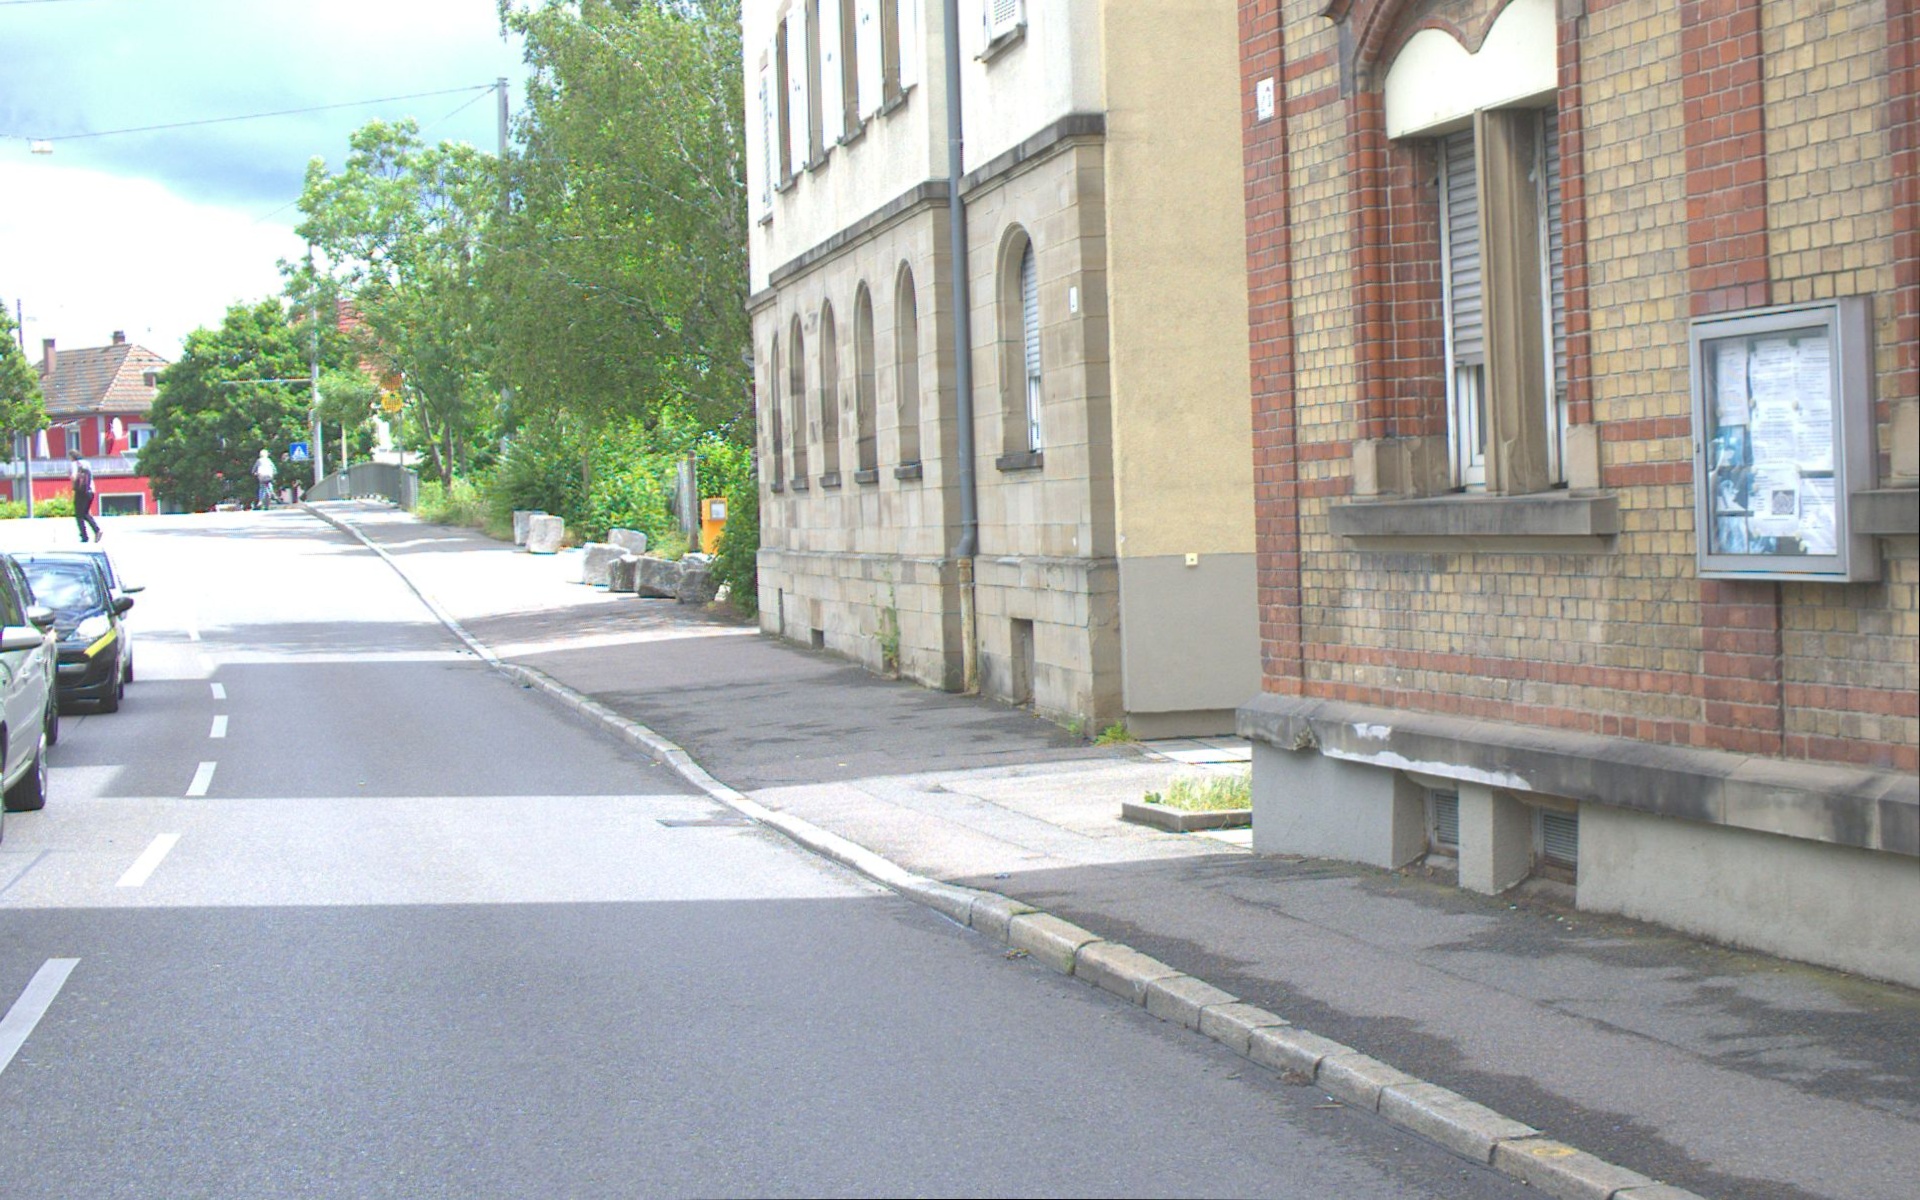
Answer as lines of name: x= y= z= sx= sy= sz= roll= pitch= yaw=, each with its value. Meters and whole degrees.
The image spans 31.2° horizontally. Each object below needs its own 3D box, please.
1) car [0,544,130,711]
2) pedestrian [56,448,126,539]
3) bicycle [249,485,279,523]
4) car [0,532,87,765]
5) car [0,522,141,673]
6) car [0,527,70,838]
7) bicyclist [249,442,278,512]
car: x=-8.640 y=0.236 z=32.108 sx=1.718 sy=1.479 sz=3.324 roll=0 pitch=0 yaw=-14
pedestrian: x=-17.554 y=-2.155 z=69.446 sx=1.034 sy=1.830 sz=0.999 roll=0 pitch=3 yaw=10
bicycle: x=-19.116 y=-2.628 z=94.395 sx=0.687 sy=0.875 sz=2.102 roll=-1 pitch=-3 yaw=-9
car: x=-7.473 y=0.310 z=25.170 sx=1.718 sy=1.576 sz=4.252 roll=0 pitch=0 yaw=-9
car: x=-9.959 y=-0.040 z=38.061 sx=1.718 sy=1.576 sz=4.001 roll=0 pitch=0 yaw=-14
car: x=-5.943 y=0.407 z=18.720 sx=1.718 sy=1.576 sz=4.319 roll=0 pitch=0 yaw=-9
bicyclist: x=-19.125 y=-3.367 z=94.428 sx=0.684 sy=1.820 sz=1.080 roll=-1 pitch=-3 yaw=-9
